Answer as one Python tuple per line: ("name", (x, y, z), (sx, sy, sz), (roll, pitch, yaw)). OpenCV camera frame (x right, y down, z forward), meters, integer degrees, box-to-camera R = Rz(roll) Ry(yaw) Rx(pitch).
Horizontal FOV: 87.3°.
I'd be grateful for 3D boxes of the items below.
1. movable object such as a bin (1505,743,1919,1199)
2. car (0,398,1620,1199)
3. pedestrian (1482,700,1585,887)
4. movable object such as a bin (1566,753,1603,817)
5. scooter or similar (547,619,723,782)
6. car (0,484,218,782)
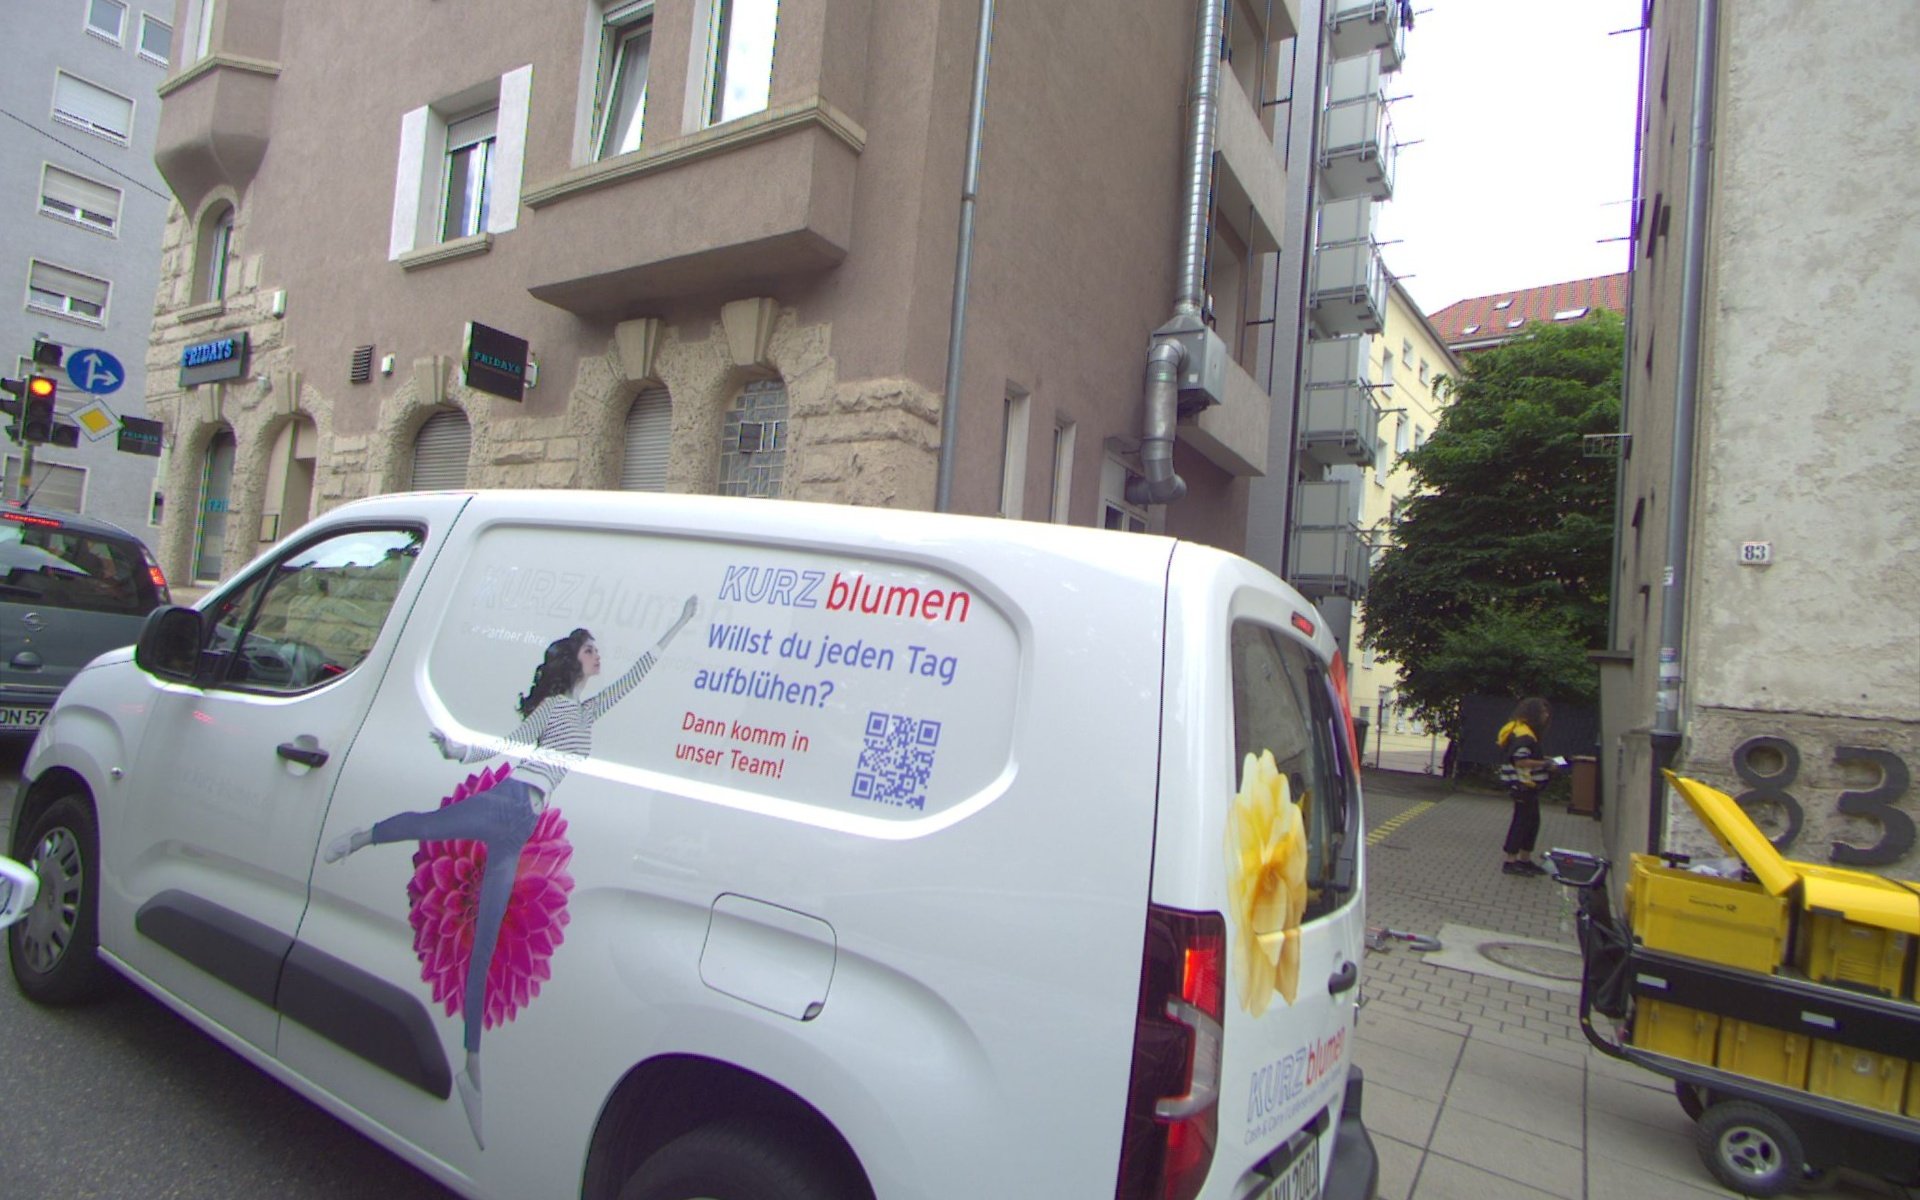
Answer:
("movable object such as a bin", (3.360, 1.447, 3.978), (1.979, 1.391, 1.223), (6, 0, 30))
("car", (-0.872, 0.589, 3.126), (4.597, 1.793, 1.983), (6, -5, 30))
("pedestrian", (5.541, 1.827, 9.771), (0.770, 1.665, 0.811), (1, -3, 24))
("movable object such as a bin", (9.924, 2.933, 15.987), (0.405, 0.922, 0.340), (6, -1, 32))
("scooter or similar", (-2.703, 0.803, 8.322), (1.400, 1.117, 0.527), (6, -1, 34))
("car", (-6.717, 0.039, 6.533), (3.608, 1.614, 1.634), (6, -5, 32))
